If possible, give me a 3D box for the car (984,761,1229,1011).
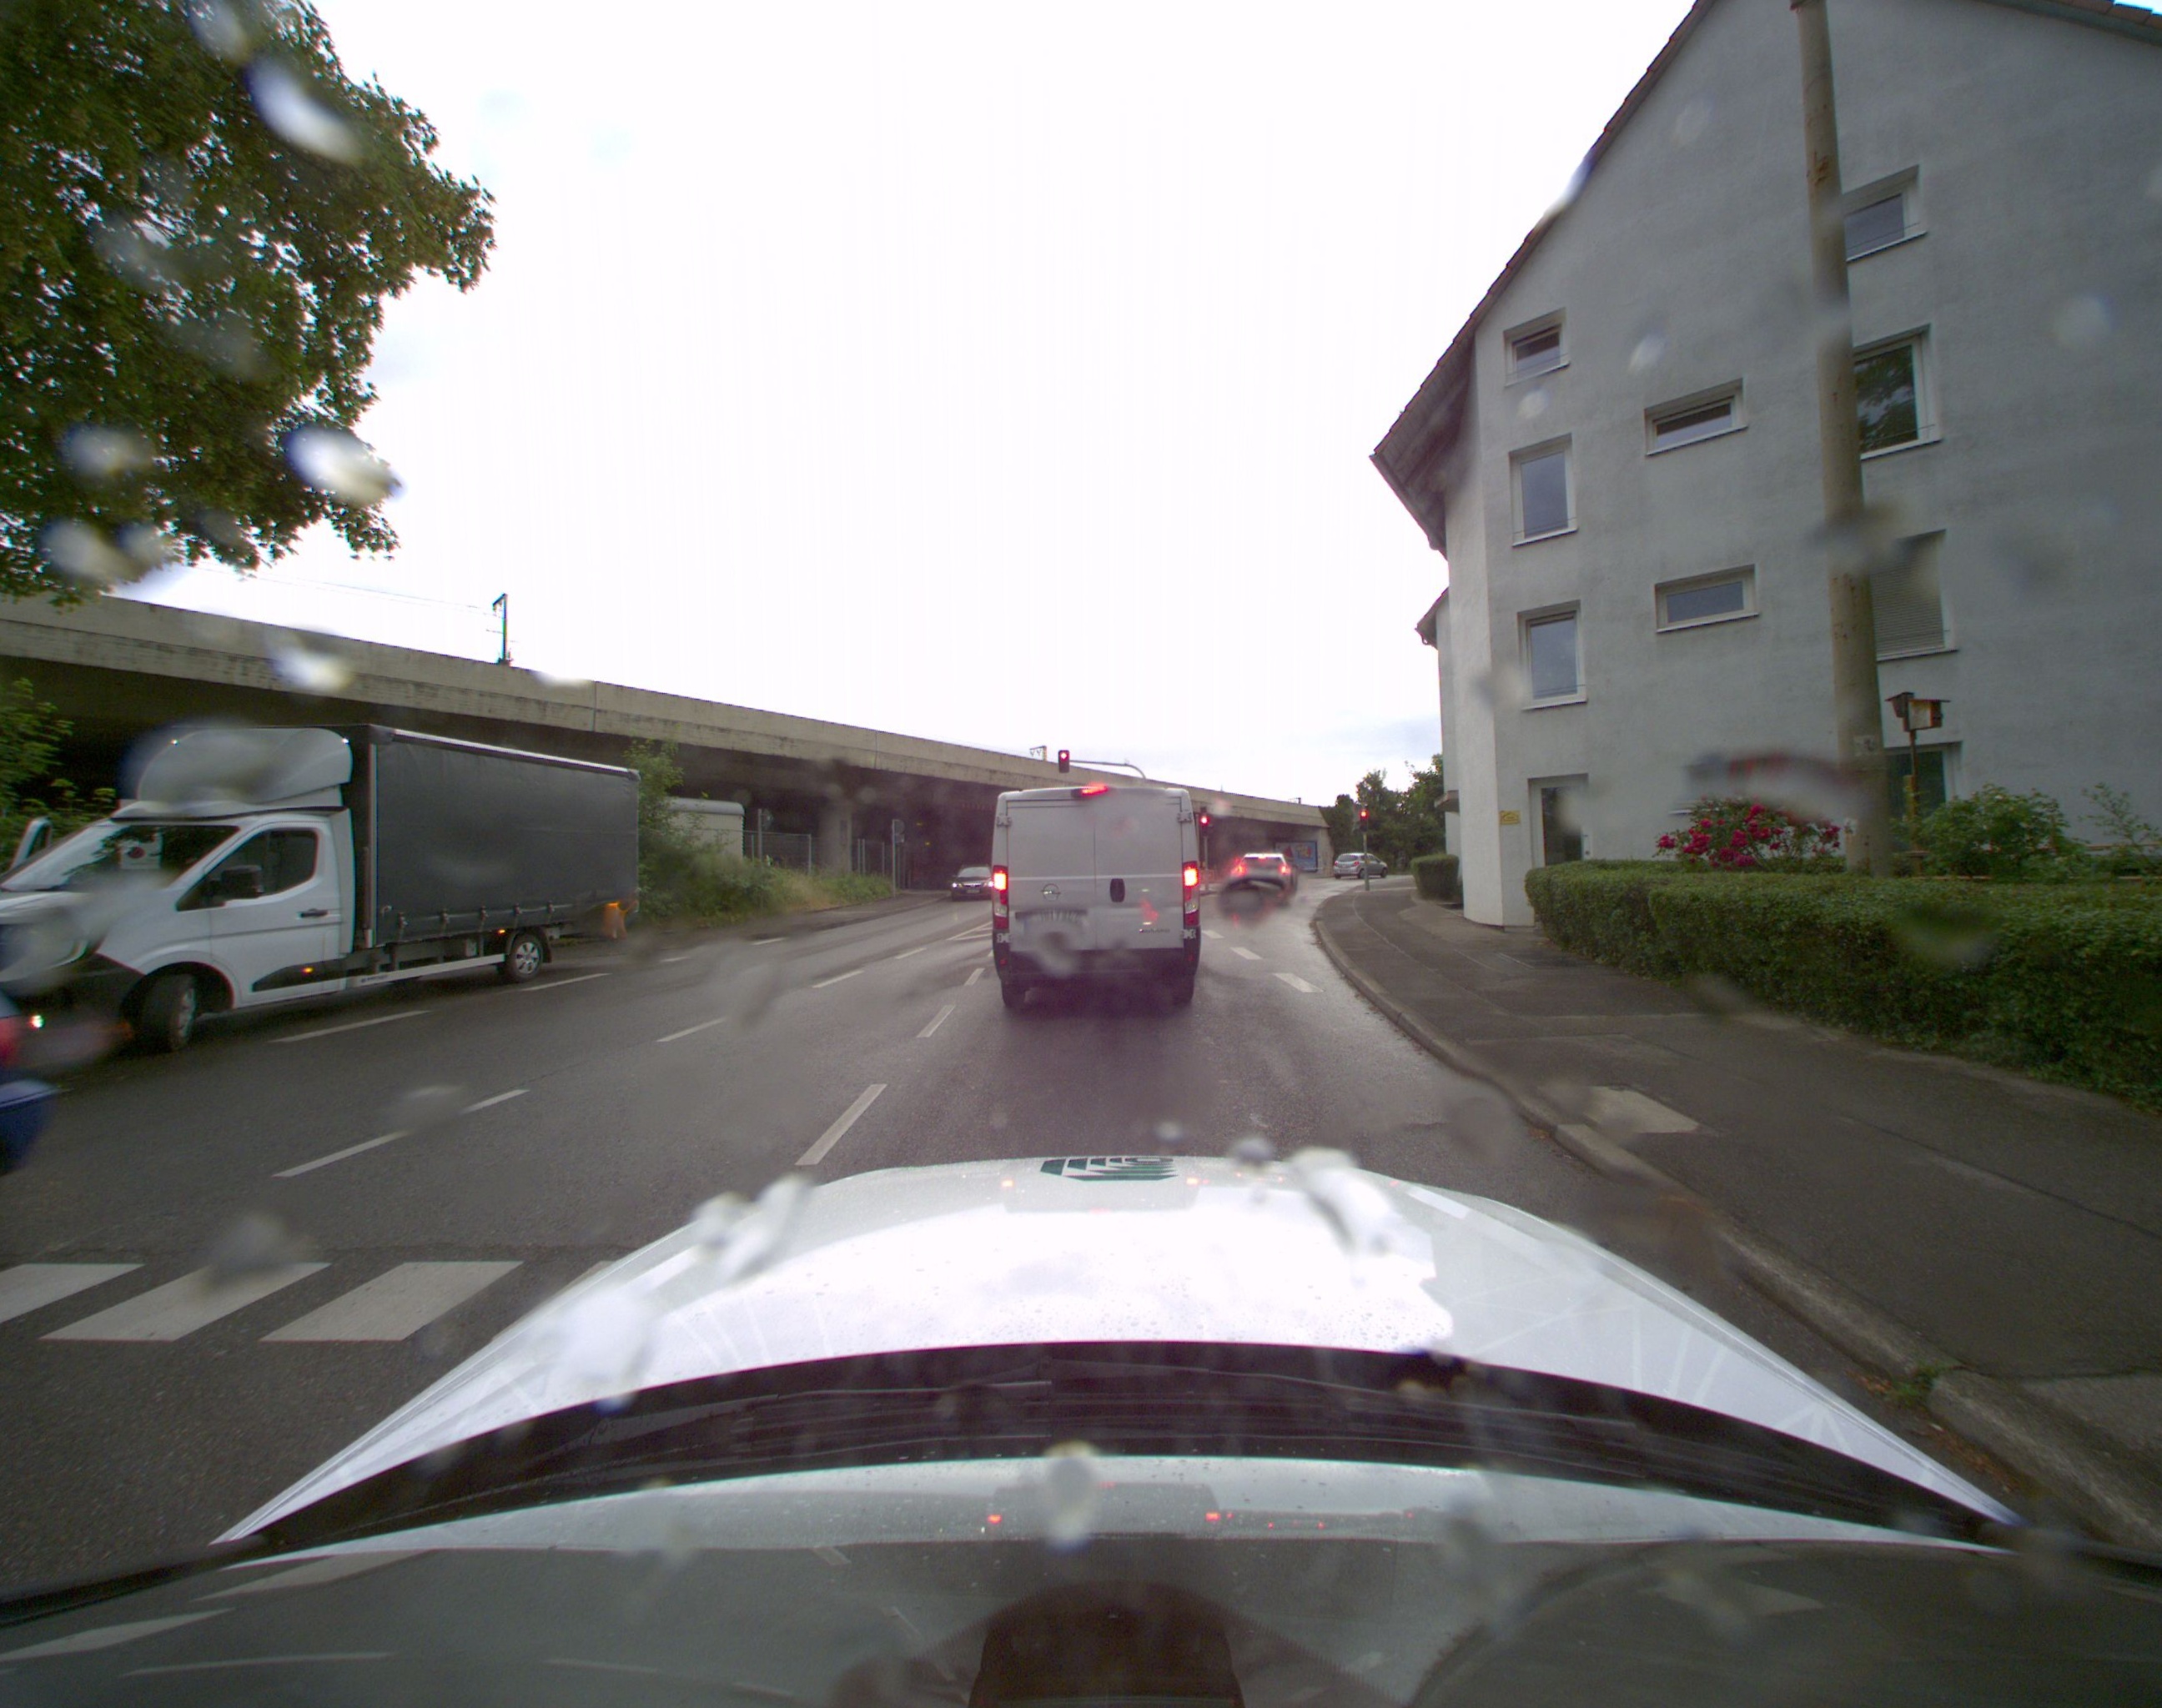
[{"bbox_3d":[0.348,0.356,10.360,2.296,2.343,5.284,-1,-1,2],"label":"car"}]

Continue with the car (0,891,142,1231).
[{"bbox_3d":[-5.483,0.900,2.151,1.591,1.426,3.700,-1,0,4],"label":"car"}]

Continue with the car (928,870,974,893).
[{"bbox_3d":[-8.950,1.880,55.816,2.004,1.519,3.964,0,-2,-27],"label":"car"}]

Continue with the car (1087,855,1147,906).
[{"bbox_3d":[1.395,0.954,29.850,1.984,1.729,4.005,-1,-2,5],"label":"car"}]

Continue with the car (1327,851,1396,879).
[{"bbox_3d":[16.263,0.636,47.170,4.021,1.554,1.976,0,-2,-41],"label":"car"}]

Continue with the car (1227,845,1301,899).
[{"bbox_3d":[5.956,0.583,26.182,1.978,1.549,4.018,-2,-2,17],"label":"car"}]

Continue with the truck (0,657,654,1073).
[{"bbox_3d":[-8.972,0.161,10.289,2.598,3.237,7.784,-1,-1,4],"label":"truck"}]

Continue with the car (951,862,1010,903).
[{"bbox_3d":[-4.148,1.147,34.219,1.836,1.569,4.412,-1,-1,0],"label":"car"}]
